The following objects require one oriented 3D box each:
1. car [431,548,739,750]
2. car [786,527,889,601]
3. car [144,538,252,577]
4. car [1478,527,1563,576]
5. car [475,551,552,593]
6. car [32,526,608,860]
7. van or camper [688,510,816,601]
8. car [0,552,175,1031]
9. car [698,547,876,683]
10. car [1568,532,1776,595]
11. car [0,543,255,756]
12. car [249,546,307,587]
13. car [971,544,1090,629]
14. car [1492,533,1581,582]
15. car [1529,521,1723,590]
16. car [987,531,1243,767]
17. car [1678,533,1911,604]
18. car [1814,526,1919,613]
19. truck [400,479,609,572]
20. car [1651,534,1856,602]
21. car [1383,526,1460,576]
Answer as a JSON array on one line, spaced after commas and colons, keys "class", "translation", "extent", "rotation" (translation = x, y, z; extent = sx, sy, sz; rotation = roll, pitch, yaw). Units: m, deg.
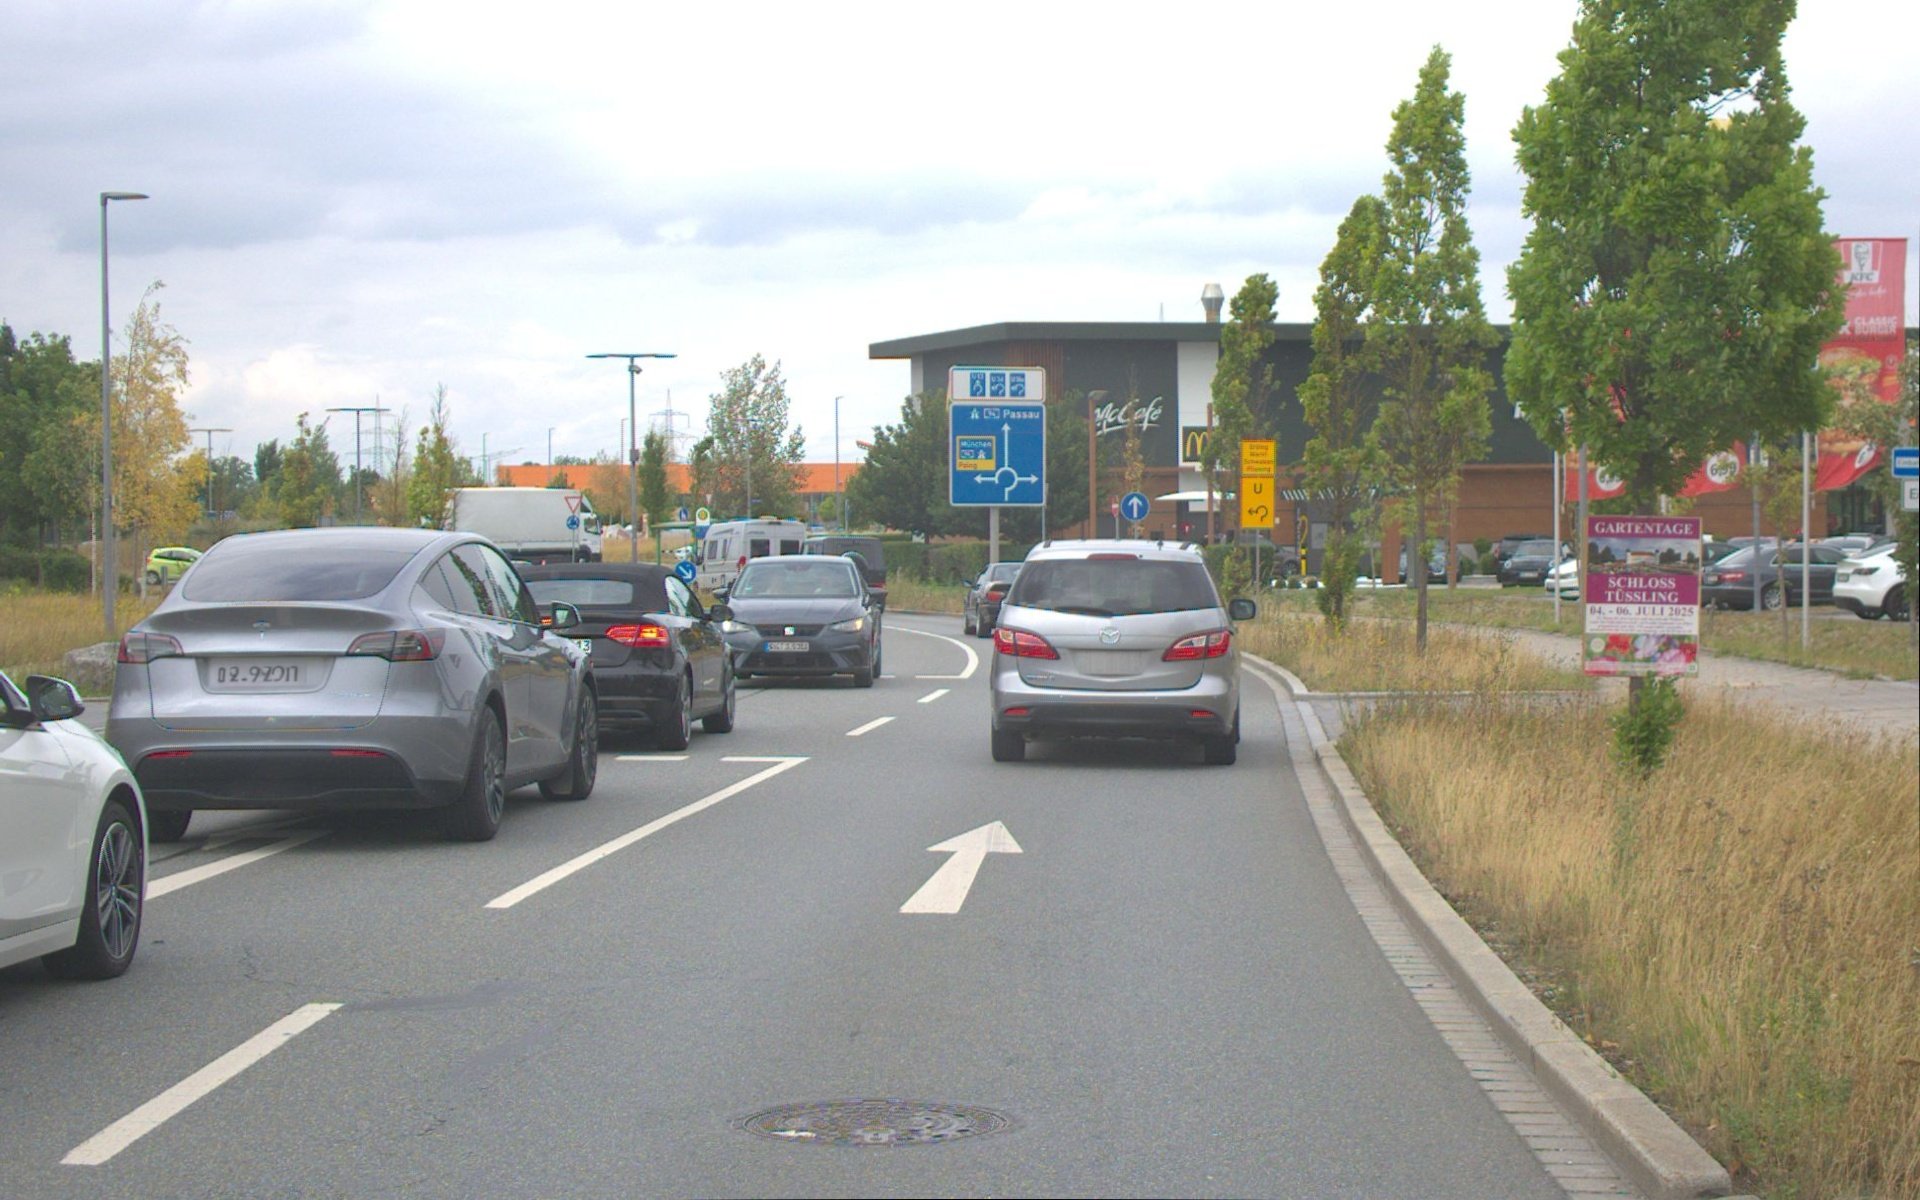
[{"class": "car", "translation": [-2.821, 0.334, 26.717], "extent": [1.769, 1.433, 4.231], "rotation": [0, 0, 2]}, {"class": "car", "translation": [-3.147, -0.922, 87.581], "extent": [2.058, 1.819, 4.787], "rotation": [0, 1, -9]}, {"class": "car", "translation": [-31.006, -1.732, 139.963], "extent": [3.986, 1.510, 2.000], "rotation": [-1, 1, -3]}, {"class": "car", "translation": [19.774, -1.720, 121.230], "extent": [2.118, 1.711, 4.226], "rotation": [1, 1, 21]}, {"class": "car", "translation": [-16.532, -1.043, 127.117], "extent": [1.993, 1.510, 4.001], "rotation": [-1, 1, -20]}, {"class": "car", "translation": [-3.278, 0.394, 18.623], "extent": [1.994, 1.556, 4.612], "rotation": [0, 1, 3]}, {"class": "van or camper", "translation": [-5.912, -1.267, 97.120], "extent": [2.302, 2.497, 5.207], "rotation": [0, 1, -19]}, {"class": "car", "translation": [-3.880, 0.594, 10.439], "extent": [1.880, 1.463, 4.193], "rotation": [-1, 1, 2]}, {"class": "car", "translation": [-1.872, 0.122, 38.375], "extent": [1.829, 1.415, 4.246], "rotation": [0, 1, -1]}, {"class": "car", "translation": [17.167, -0.893, 82.968], "extent": [4.466, 1.431, 2.074], "rotation": [-1, 2, -15]}, {"class": "car", "translation": [-7.651, 0.375, 29.502], "extent": [1.994, 1.631, 4.702], "rotation": [-2, 1, 3]}, {"class": "car", "translation": [-29.514, -1.450, 148.599], "extent": [1.798, 1.663, 4.328], "rotation": [-3, 2, -19]}, {"class": "car", "translation": [1.225, -0.275, 61.455], "extent": [1.844, 1.413, 4.225], "rotation": [-1, 1, -3]}, {"class": "car", "translation": [16.222, -1.216, 96.682], "extent": [1.813, 1.308, 3.846], "rotation": [0, 2, 20]}, {"class": "car", "translation": [16.538, -1.126, 85.409], "extent": [4.346, 1.634, 1.938], "rotation": [-1, 2, -18]}, {"class": "car", "translation": [1.183, 0.300, 25.478], "extent": [1.730, 1.594, 3.806], "rotation": [1, 1, 4]}, {"class": "car", "translation": [18.211, -0.701, 75.111], "extent": [4.516, 1.464, 2.033], "rotation": [-1, 1, -12]}, {"class": "car", "translation": [19.534, -0.659, 68.178], "extent": [4.560, 1.639, 2.089], "rotation": [-2, 1, -7]}, {"class": "truck", "translation": [-19.596, -3.230, 148.541], "extent": [3.140, 3.893, 9.314], "rotation": [0, 1, 39]}, {"class": "car", "translation": [18.011, -0.748, 78.084], "extent": [4.082, 1.433, 1.943], "rotation": [-1, 2, -14]}, {"class": "car", "translation": [16.047, -1.712, 119.474], "extent": [1.995, 1.711, 3.997], "rotation": [0, 1, 18]}]
